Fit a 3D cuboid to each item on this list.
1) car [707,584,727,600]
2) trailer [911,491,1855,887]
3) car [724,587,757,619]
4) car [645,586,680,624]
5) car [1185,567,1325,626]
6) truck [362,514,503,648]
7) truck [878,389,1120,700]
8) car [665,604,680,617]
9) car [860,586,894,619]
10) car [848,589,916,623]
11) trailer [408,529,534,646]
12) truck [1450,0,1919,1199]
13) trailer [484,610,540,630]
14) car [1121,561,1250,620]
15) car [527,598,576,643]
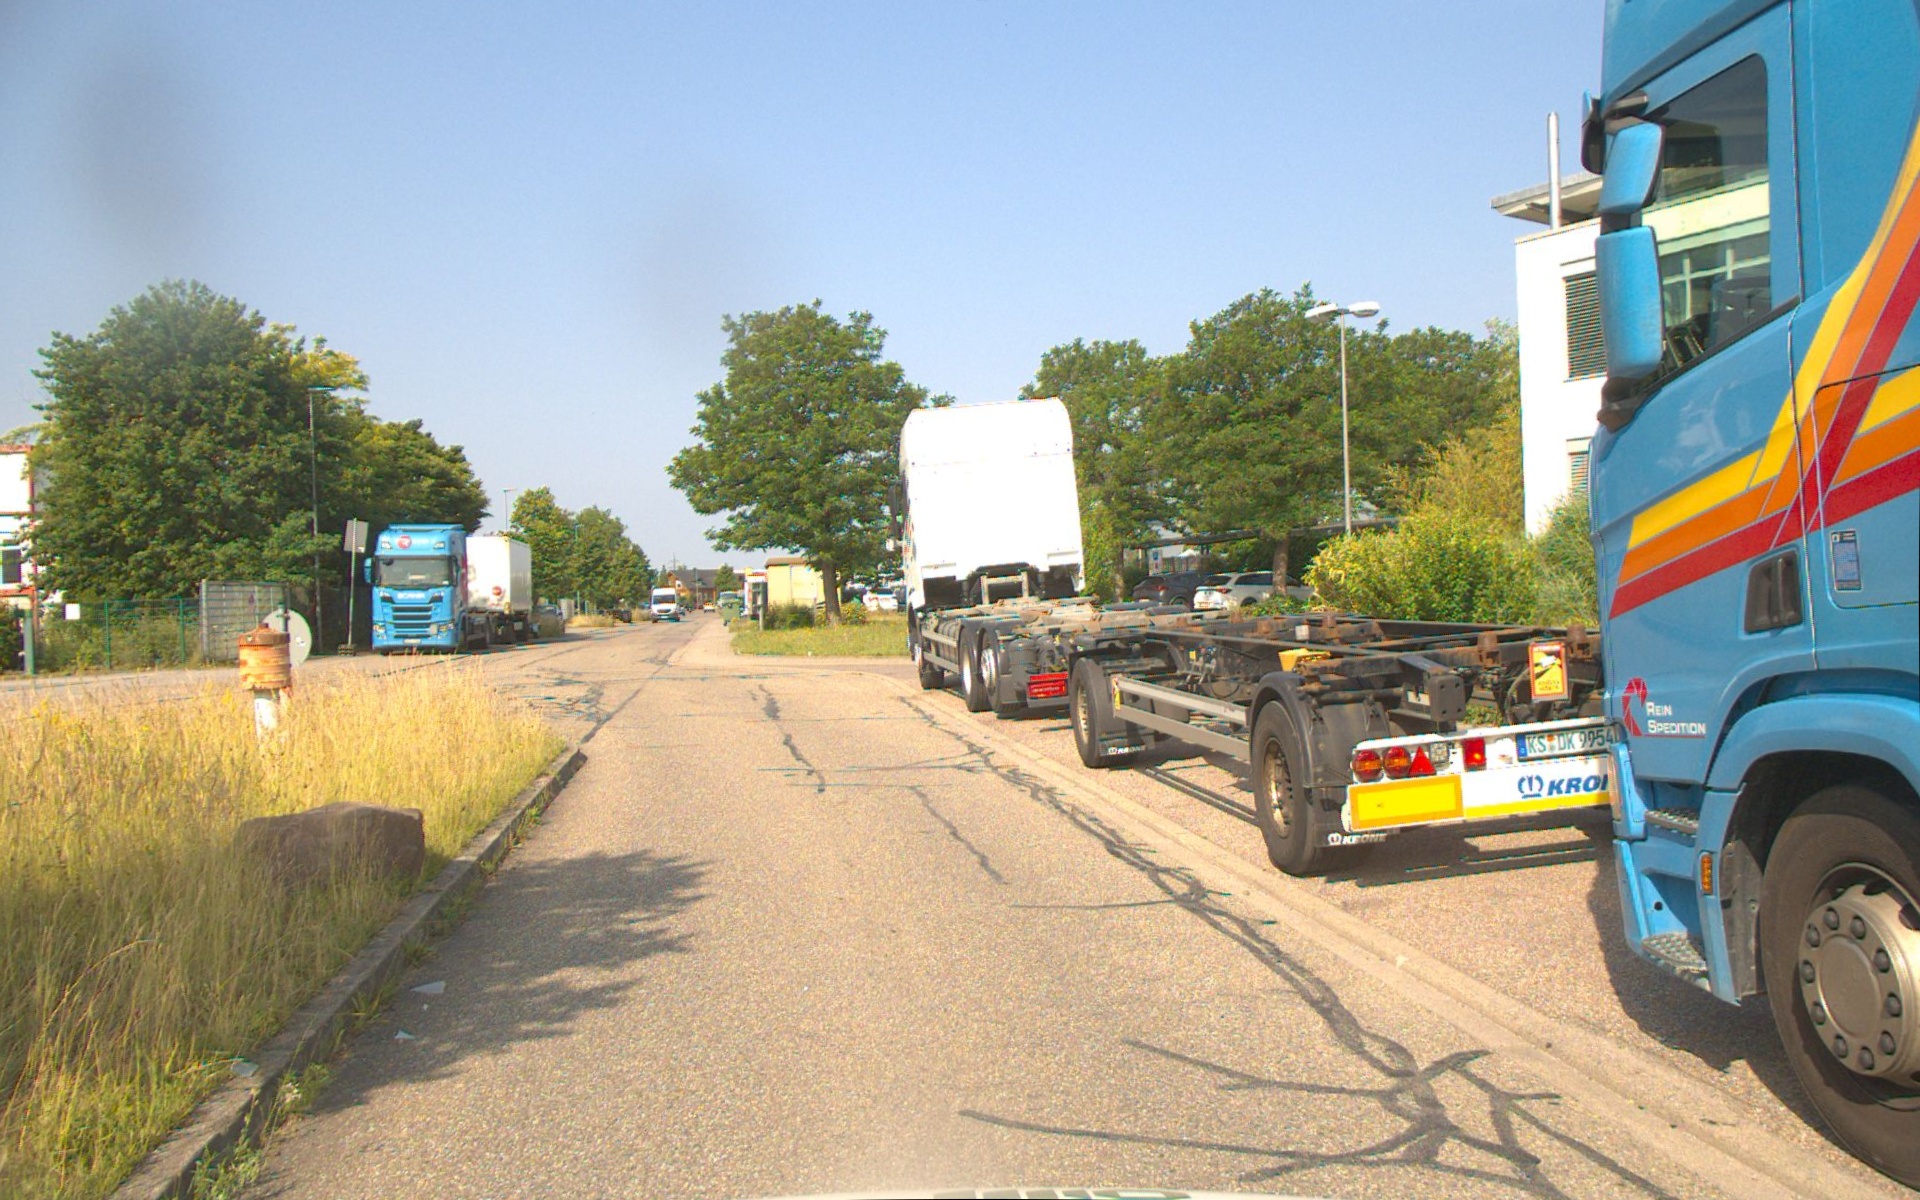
[{"bbox_3d":[-28.718,-0.924,195.276,1.743,1.847,3.980,0,-1,-18],"label":"car"},{"bbox_3d":[1.784,0.391,15.661,2.695,1.601,16.142,-5,1,-8],"label":"trailer"},{"bbox_3d":[-12.597,0.173,94.865,1.759,1.780,3.991,0,-1,-9],"label":"car"},{"bbox_3d":[-22.807,0.416,126.648,2.177,2.733,6.826,0,-1,-14],"label":"car"},{"bbox_3d":[8.991,-0.090,50.337,4.030,1.731,1.748,0,-1,-30],"label":"car"},{"bbox_3d":[-16.785,-0.479,53.282,2.773,3.893,9.653,0,-1,-8],"label":"truck"},{"bbox_3d":[0.446,-0.777,24.610,2.695,4.050,3.993,-5,0,-8],"label":"truck"},{"bbox_3d":[-36.312,1.342,209.109,1.612,1.691,3.985,0,-1,-14],"label":"car"},{"bbox_3d":[-4.400,0.149,87.298,1.684,1.646,3.996,0,-1,-5],"label":"car"},{"bbox_3d":[-3.309,0.250,69.329,1.646,1.353,3.635,0,-1,-24],"label":"car"},{"bbox_3d":[-17.960,-0.333,61.506,2.778,3.910,12.011,0,-1,-8],"label":"trailer"},{"bbox_3d":[3.829,-0.534,0.944,2.835,3.595,9.738,-6,0,-7],"label":"truck"},{"bbox_3d":[-19.201,0.843,70.985,1.862,0.774,3.991,-2,0,-9],"label":"trailer"},{"bbox_3d":[7.271,-0.275,53.114,3.961,1.798,1.972,0,-1,-40],"label":"car"},{"bbox_3d":[-19.544,0.974,79.058,1.963,2.049,3.980,-2,0,-18],"label":"car"}]
